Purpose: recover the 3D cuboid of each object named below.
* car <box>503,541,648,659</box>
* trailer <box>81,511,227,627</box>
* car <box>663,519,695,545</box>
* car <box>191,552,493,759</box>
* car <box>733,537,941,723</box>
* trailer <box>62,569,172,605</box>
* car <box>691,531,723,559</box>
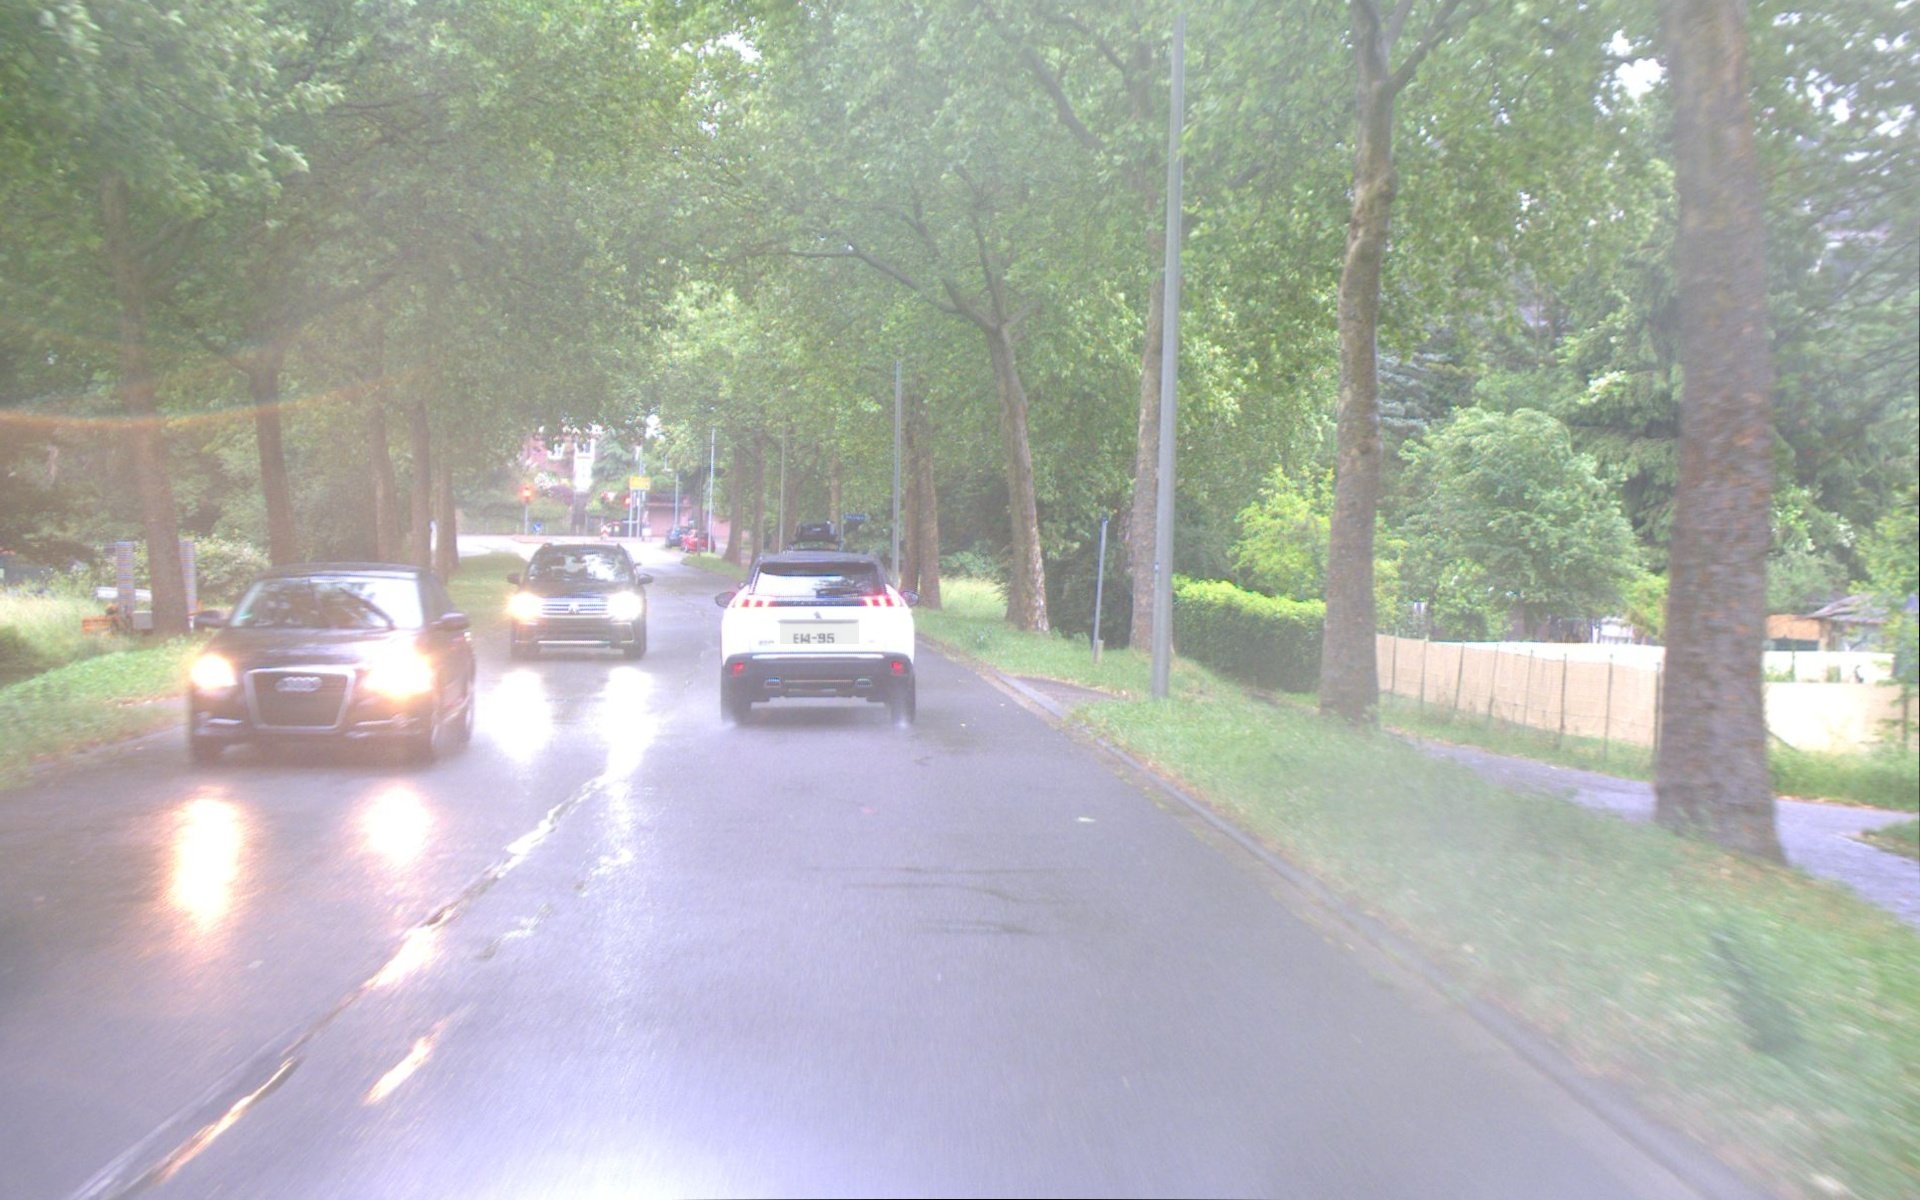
[{"bbox_3d":[-5.494,-0.030,49.530,1.731,1.582,4.311,1,1,-2],"label":"car"},{"bbox_3d":[-18.864,-0.745,80.723,2.484,2.558,5.333,1,1,-4],"label":"trailer"},{"bbox_3d":[-17.754,-4.270,217.529,1.827,1.590,3.654,1,1,-2],"label":"car"},{"bbox_3d":[-4.548,0.356,25.833,1.731,1.419,4.226,0,1,-3],"label":"car"},{"bbox_3d":[-1.152,0.230,32.208,1.793,1.573,3.845,1,1,-2],"label":"car"},{"bbox_3d":[-28.496,-0.440,116.259,3.552,1.174,1.823,0,1,-11],"label":"trailer"},{"bbox_3d":[-15.301,-3.324,208.036,1.827,1.590,3.654,1,1,-2],"label":"car"}]
